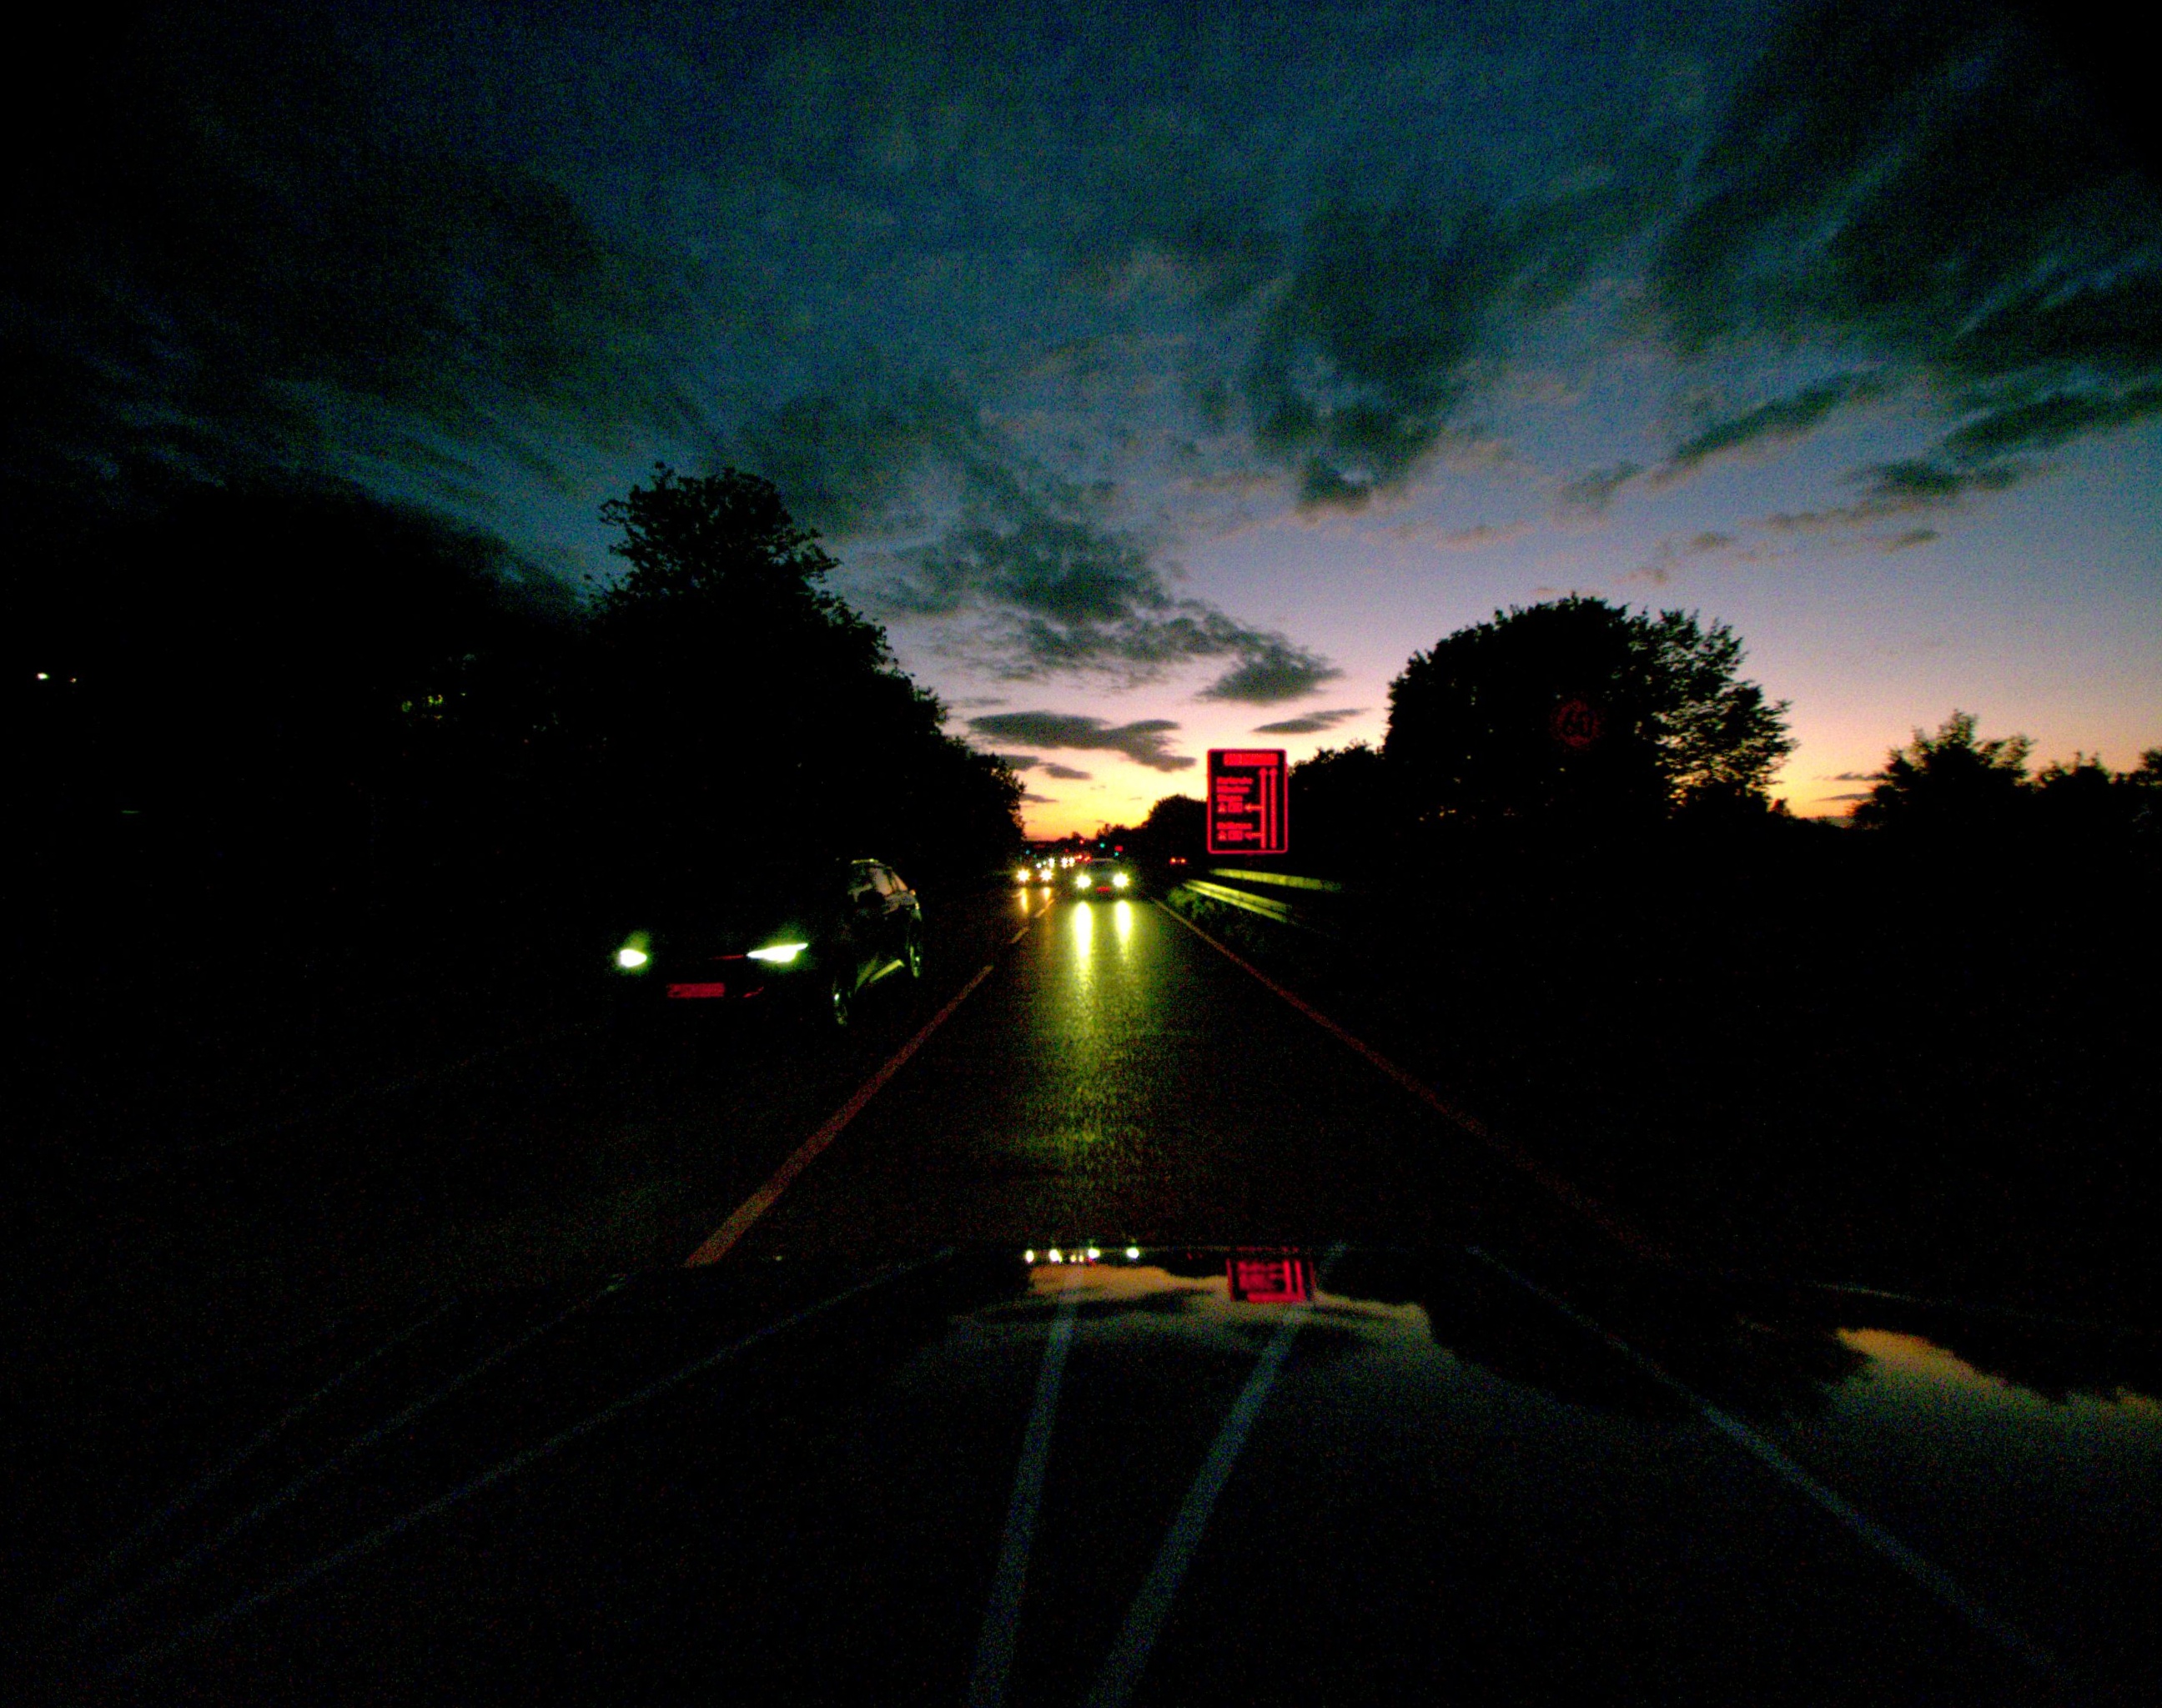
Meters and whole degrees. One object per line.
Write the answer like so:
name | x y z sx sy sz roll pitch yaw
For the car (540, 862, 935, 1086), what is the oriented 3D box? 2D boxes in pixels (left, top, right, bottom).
car | -3.082 0.946 8.161 1.998 1.600 4.711 -2 0 1

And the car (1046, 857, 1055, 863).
car | -6.928 1.328 173.435 1.999 1.423 4.501 0 0 -1

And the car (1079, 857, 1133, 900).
car | 0.910 0.889 29.711 1.901 1.472 4.514 -2 0 0

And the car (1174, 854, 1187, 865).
car | 15.210 0.852 116.142 1.798 1.661 4.504 -1 0 8

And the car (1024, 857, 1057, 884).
car | -2.363 0.961 44.947 1.624 1.460 3.871 -2 0 1

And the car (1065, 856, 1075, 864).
car | -2.183 1.203 154.230 1.999 1.602 4.501 -1 0 -1

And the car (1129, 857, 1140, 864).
car | 11.245 1.401 160.347 1.926 1.423 4.501 0 0 -1
